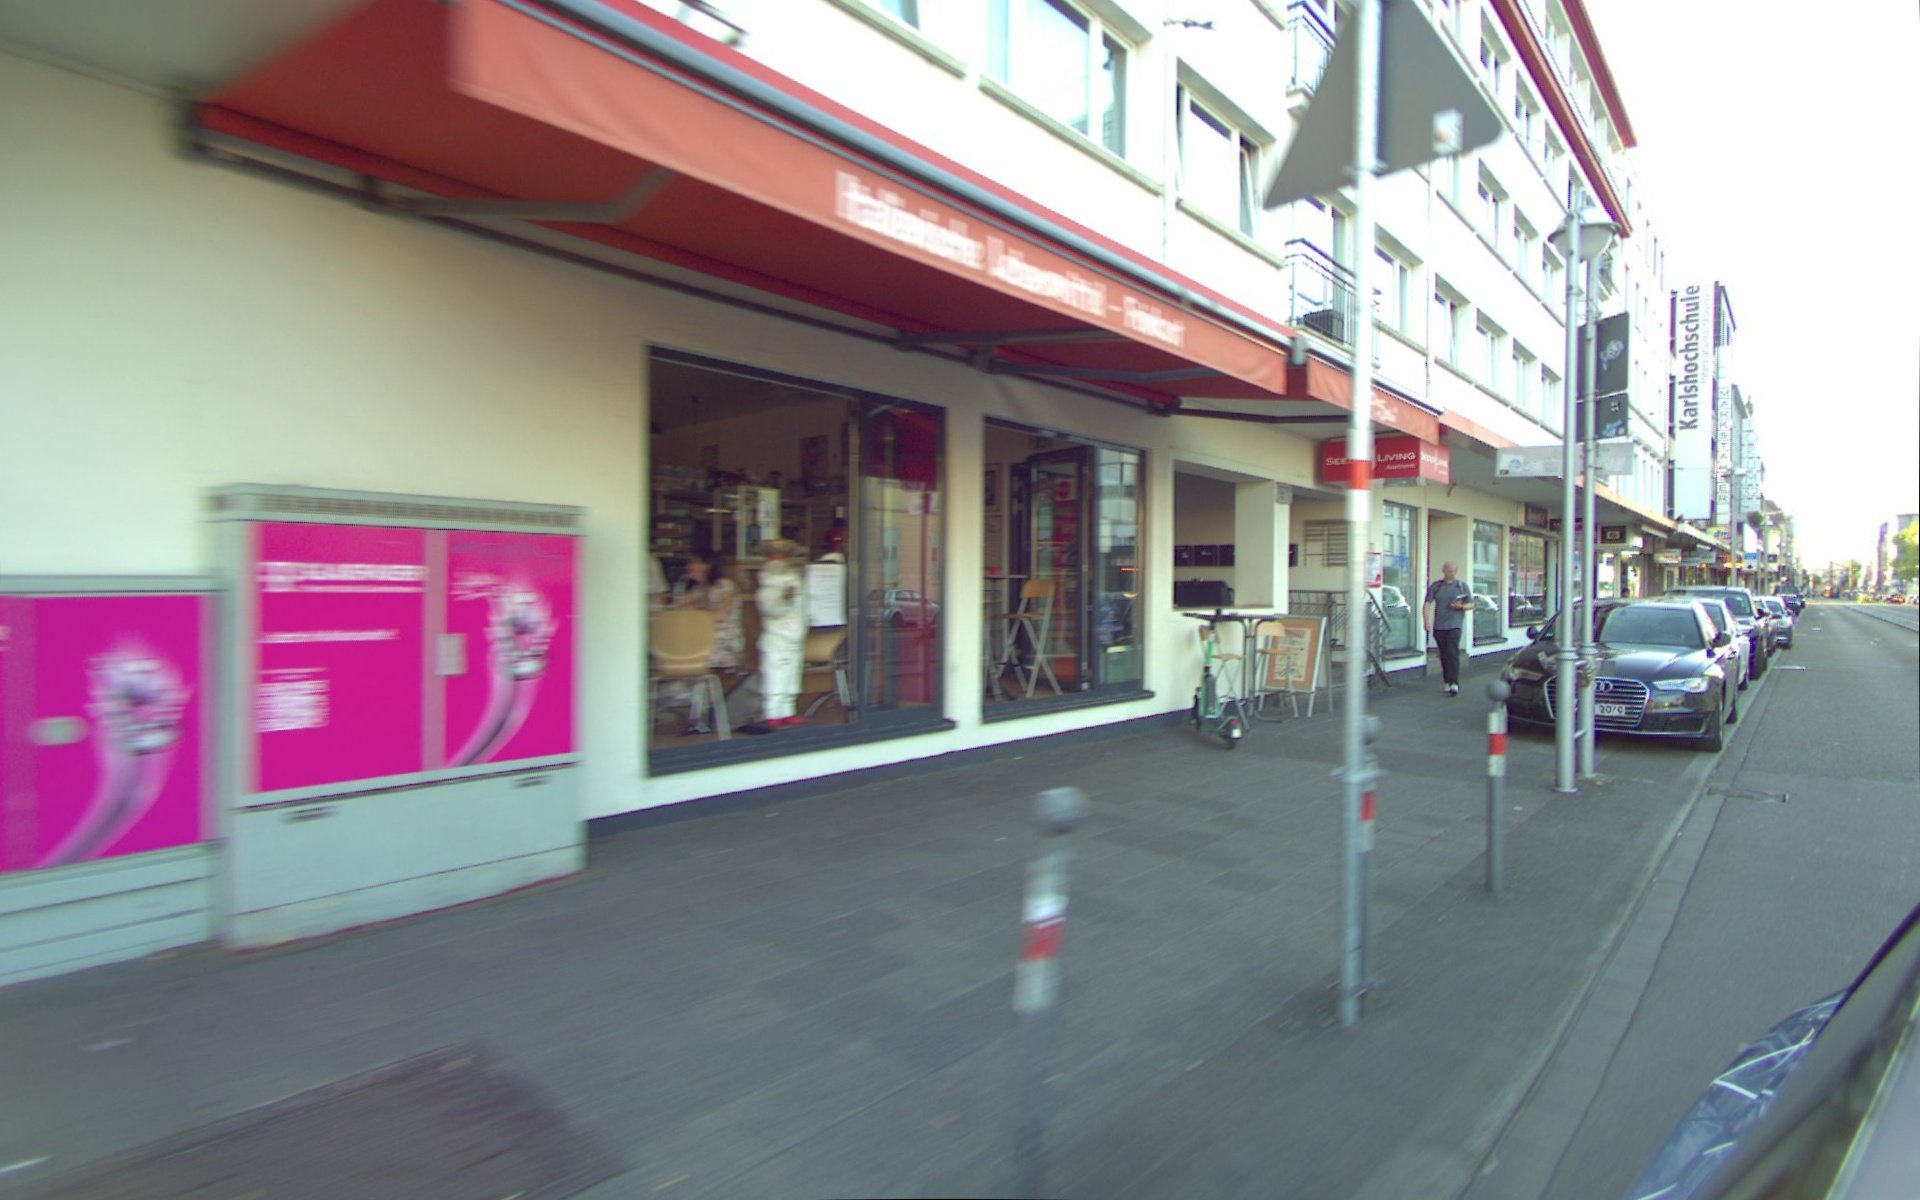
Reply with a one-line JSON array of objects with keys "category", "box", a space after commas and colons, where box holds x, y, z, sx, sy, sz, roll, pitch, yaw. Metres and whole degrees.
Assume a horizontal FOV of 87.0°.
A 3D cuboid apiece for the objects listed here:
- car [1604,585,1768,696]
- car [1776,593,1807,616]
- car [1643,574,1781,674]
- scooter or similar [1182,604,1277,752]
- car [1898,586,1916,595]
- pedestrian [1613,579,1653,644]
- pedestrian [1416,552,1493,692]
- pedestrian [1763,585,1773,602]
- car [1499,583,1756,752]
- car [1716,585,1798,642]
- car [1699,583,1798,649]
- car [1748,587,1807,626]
[{"category": "car", "box": [11.170, 0.528, 15.460, 1.649, 1.439, 4.129, -2, 0, 41]}, {"category": "car", "box": [62.530, 0.320, 76.052, 1.738, 1.560, 3.908, 1, 1, 40]}, {"category": "car", "box": [14.682, 0.390, 19.653, 1.853, 1.722, 4.354, -2, 0, 40]}, {"category": "scooter or similar", "box": [2.424, 0.662, 9.223, 0.328, 1.209, 1.440, 1, 1, -5]}, {"category": "car", "box": [161.209, -1.628, 172.355, 1.991, 1.582, 3.943, -1, 0, 40]}, {"category": "pedestrian", "box": [16.883, 0.268, 25.384, 0.732, 1.593, 0.952, 0, 0, 41]}, {"category": "pedestrian", "box": [6.990, 0.281, 14.296, 0.773, 1.904, 0.921, 1, 1, 39]}, {"category": "pedestrian", "box": [86.054, -0.725, 107.772, 0.739, 1.777, 0.779, 3, 2, 38]}, {"category": "car", "box": [7.438, 0.567, 11.050, 1.787, 1.430, 4.619, -1, 0, 40]}, {"category": "car", "box": [24.227, 0.361, 30.702, 1.789, 1.552, 4.787, -2, 0, 40]}, {"category": "car", "box": [20.410, 0.384, 26.128, 1.779, 1.542, 4.292, -2, -1, 41]}, {"category": "car", "box": [33.793, 0.250, 41.796, 1.763, 1.532, 4.012, -2, 0, 41]}]
